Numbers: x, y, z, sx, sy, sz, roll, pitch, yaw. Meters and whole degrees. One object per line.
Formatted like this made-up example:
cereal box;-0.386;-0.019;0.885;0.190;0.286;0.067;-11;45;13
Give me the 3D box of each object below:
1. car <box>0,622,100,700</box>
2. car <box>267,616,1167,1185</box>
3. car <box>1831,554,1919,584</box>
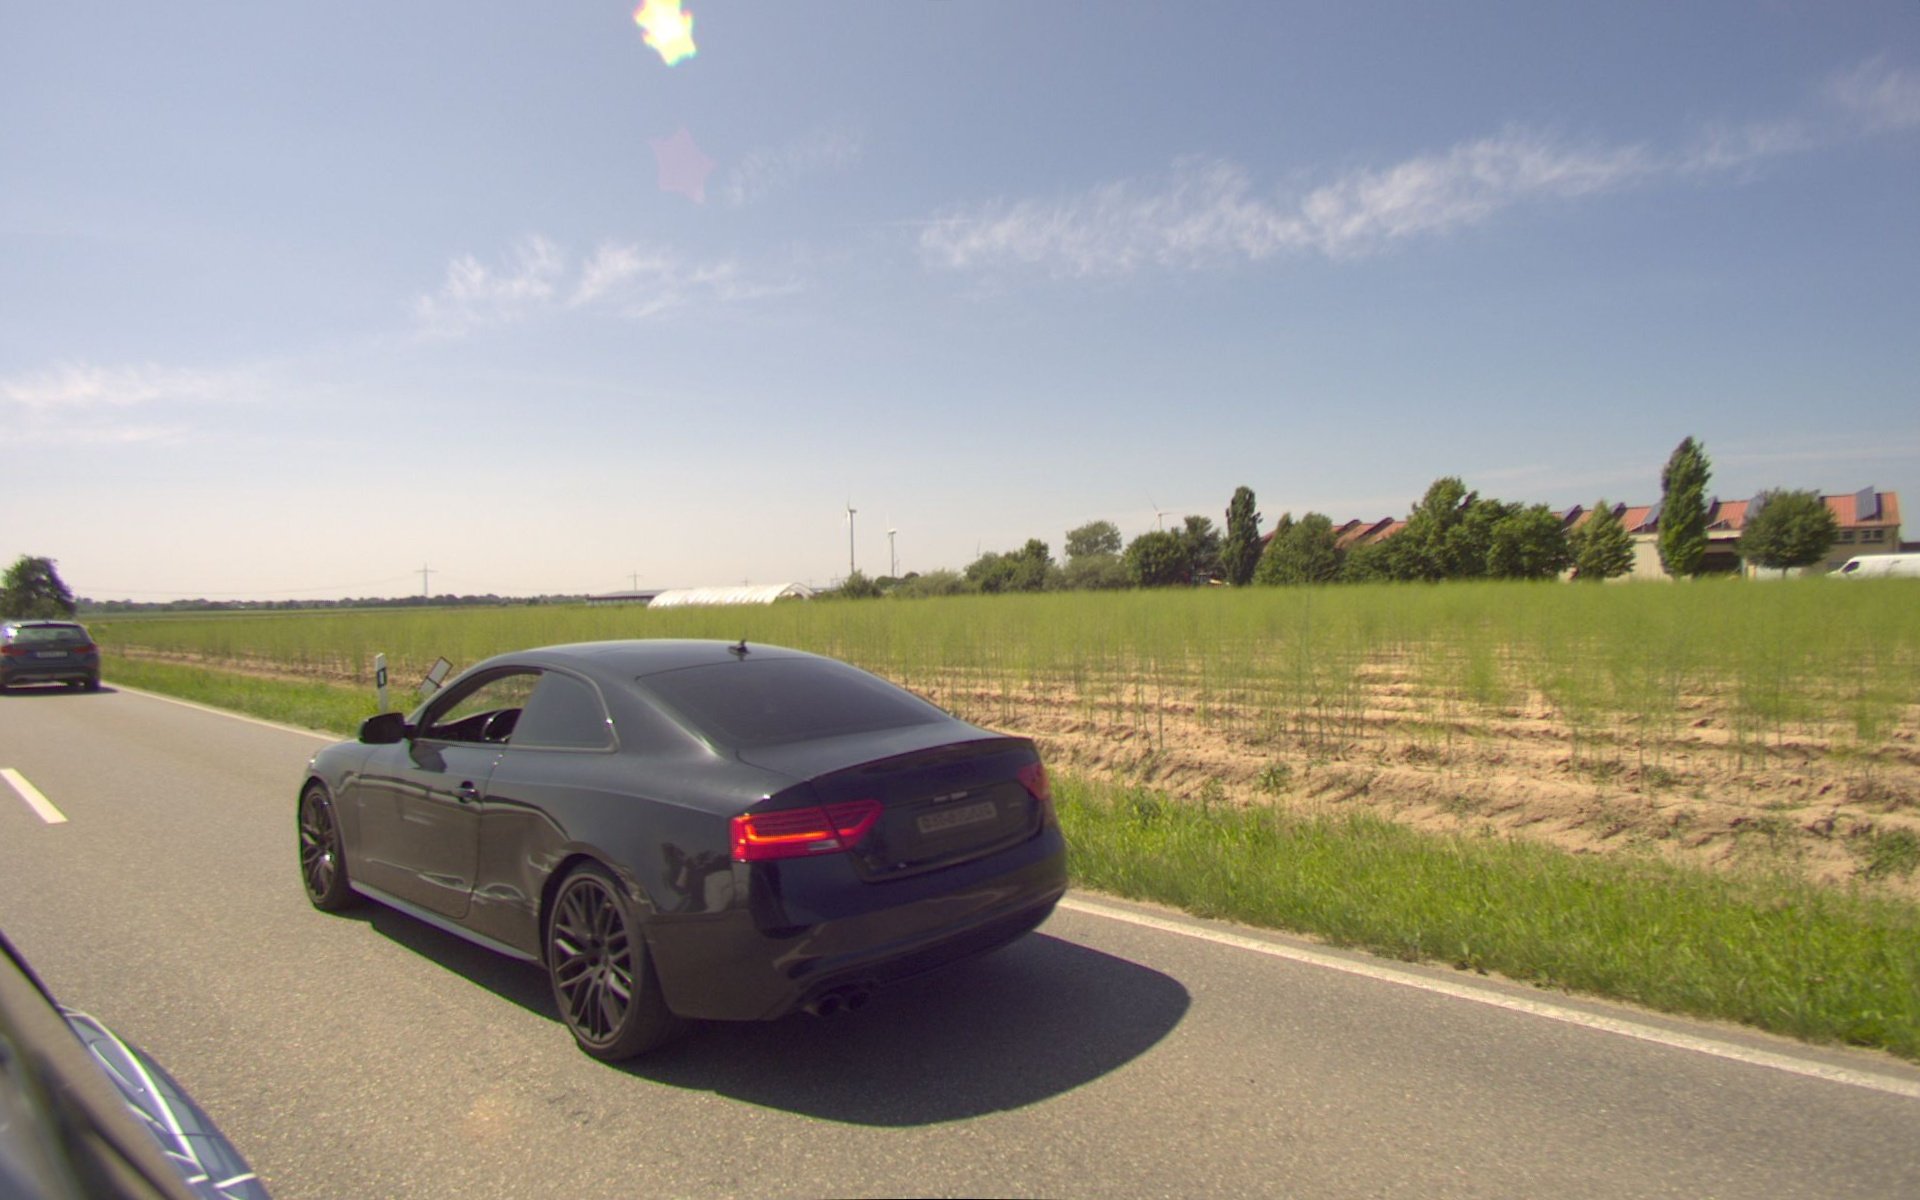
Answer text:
car;-20.312;1.261;22.167;4.141;1.544;1.721;-1;-1;42
car;-1.456;0.791;4.583;4.415;1.367;1.723;-2;-1;41
car;66.984;-2.253;73.532;5.505;2.077;1.845;-1;1;44
